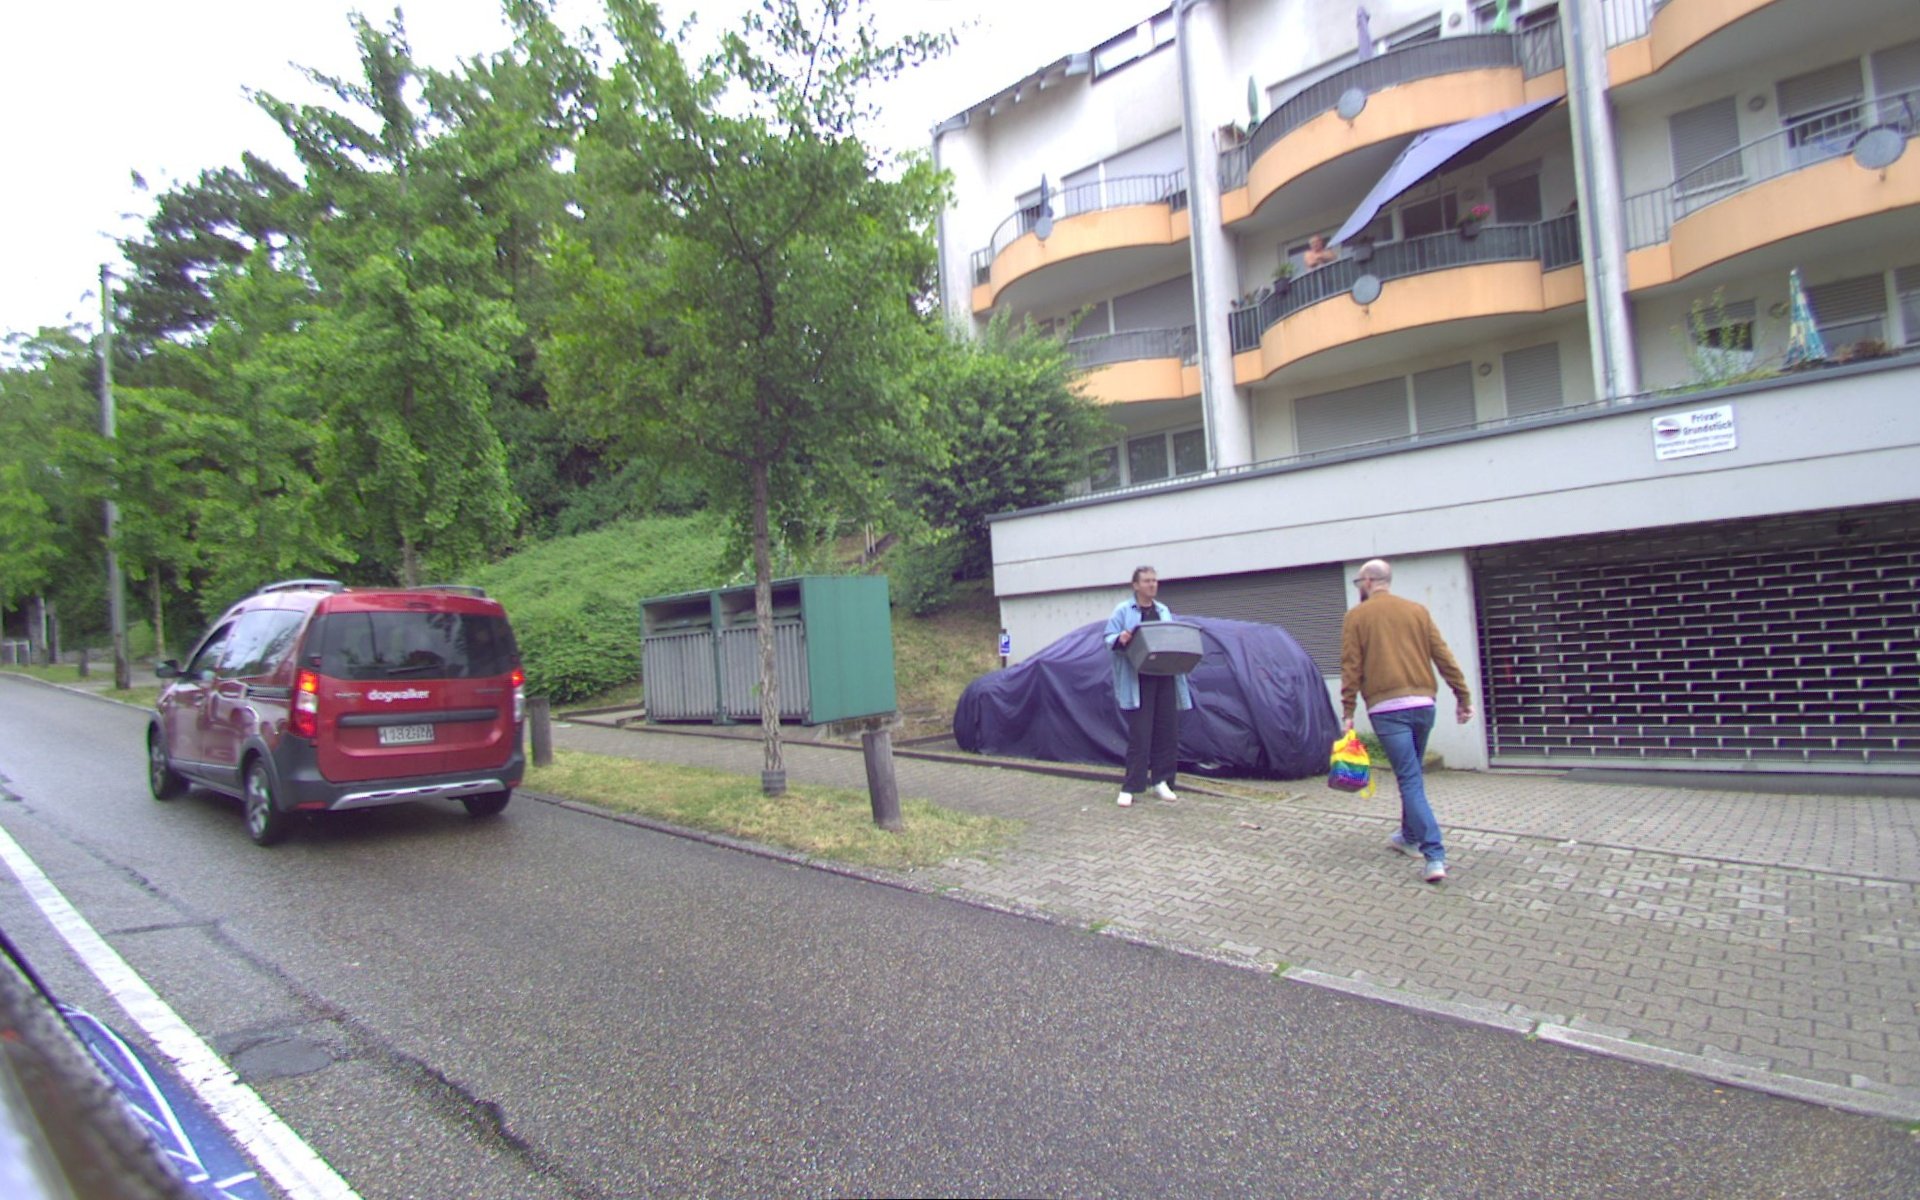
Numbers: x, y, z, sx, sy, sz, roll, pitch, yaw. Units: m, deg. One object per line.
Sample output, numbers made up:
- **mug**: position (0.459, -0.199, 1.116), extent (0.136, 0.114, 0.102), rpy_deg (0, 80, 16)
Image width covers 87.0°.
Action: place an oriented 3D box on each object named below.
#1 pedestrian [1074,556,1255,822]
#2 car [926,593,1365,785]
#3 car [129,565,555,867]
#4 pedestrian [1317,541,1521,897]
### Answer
- **pedestrian**: position (1.500, 0.601, 7.567), extent (0.810, 1.795, 1.077), rpy_deg (-3, 1, -23)
- **car**: position (1.754, 0.824, 10.343), extent (4.096, 1.573, 1.759), rpy_deg (-2, -5, 41)
- **car**: position (-5.244, 0.750, 8.315), extent (4.456, 1.842, 1.728), rpy_deg (-1, -2, 41)
- **pedestrian**: position (2.526, 0.597, 5.705), extent (0.817, 1.795, 1.069), rpy_deg (-2, 1, 14)
